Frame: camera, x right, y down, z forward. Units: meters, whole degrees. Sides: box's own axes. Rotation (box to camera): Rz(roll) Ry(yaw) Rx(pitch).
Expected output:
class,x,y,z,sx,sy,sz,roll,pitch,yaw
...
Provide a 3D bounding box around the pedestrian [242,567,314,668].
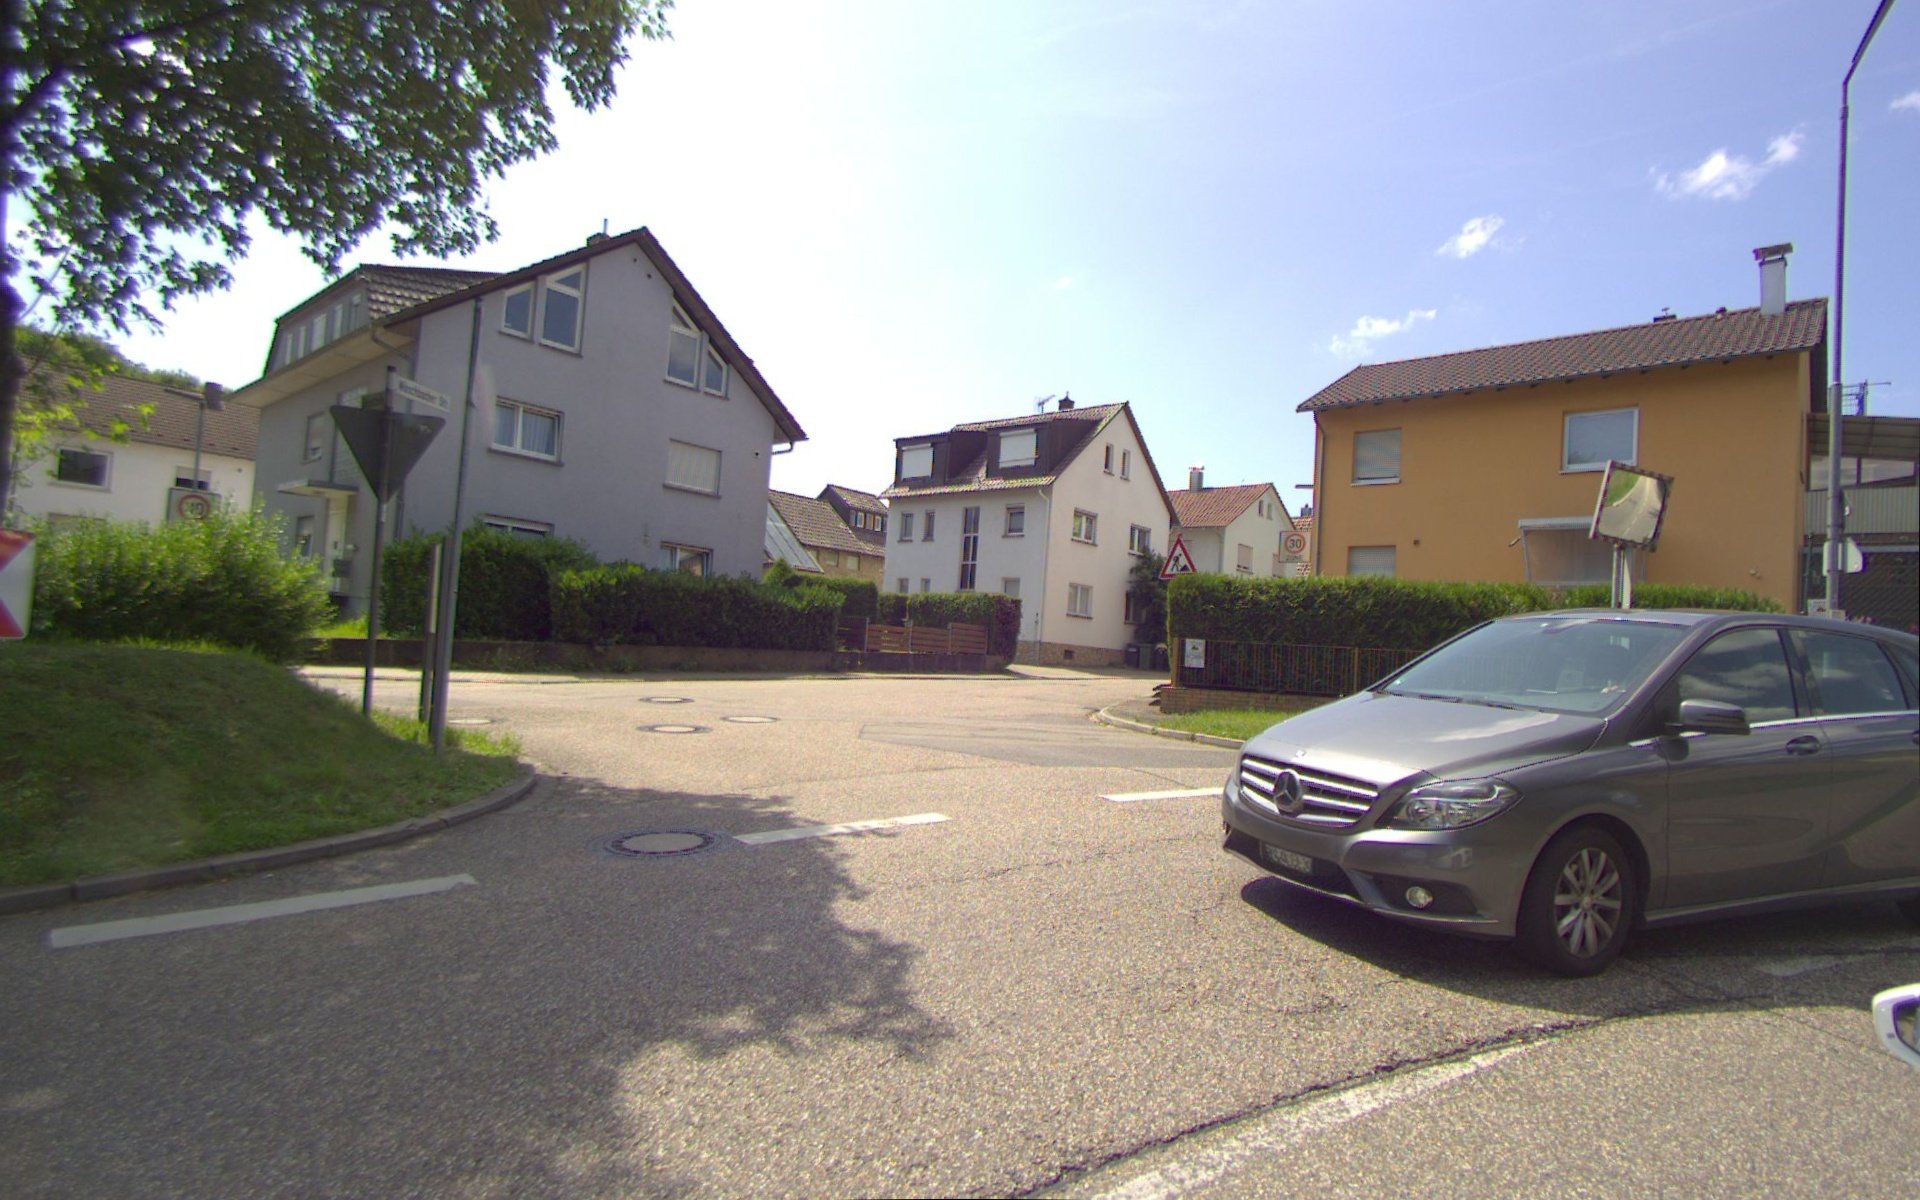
class,x,y,z,sx,sy,sz,roll,pitch,yaw
pedestrian,-12.185,0.309,17.954,0.774,1.735,0.687,2,0,21

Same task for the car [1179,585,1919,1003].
class,x,y,z,sx,sy,sz,roll,pitch,yaw
car,3.393,0.808,5.285,4.065,1.576,1.716,2,0,-20

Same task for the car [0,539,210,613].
class,x,y,z,sx,sy,sz,roll,pitch,yaw
car,-26.543,-0.681,31.328,1.969,2.040,4.691,1,-1,39
